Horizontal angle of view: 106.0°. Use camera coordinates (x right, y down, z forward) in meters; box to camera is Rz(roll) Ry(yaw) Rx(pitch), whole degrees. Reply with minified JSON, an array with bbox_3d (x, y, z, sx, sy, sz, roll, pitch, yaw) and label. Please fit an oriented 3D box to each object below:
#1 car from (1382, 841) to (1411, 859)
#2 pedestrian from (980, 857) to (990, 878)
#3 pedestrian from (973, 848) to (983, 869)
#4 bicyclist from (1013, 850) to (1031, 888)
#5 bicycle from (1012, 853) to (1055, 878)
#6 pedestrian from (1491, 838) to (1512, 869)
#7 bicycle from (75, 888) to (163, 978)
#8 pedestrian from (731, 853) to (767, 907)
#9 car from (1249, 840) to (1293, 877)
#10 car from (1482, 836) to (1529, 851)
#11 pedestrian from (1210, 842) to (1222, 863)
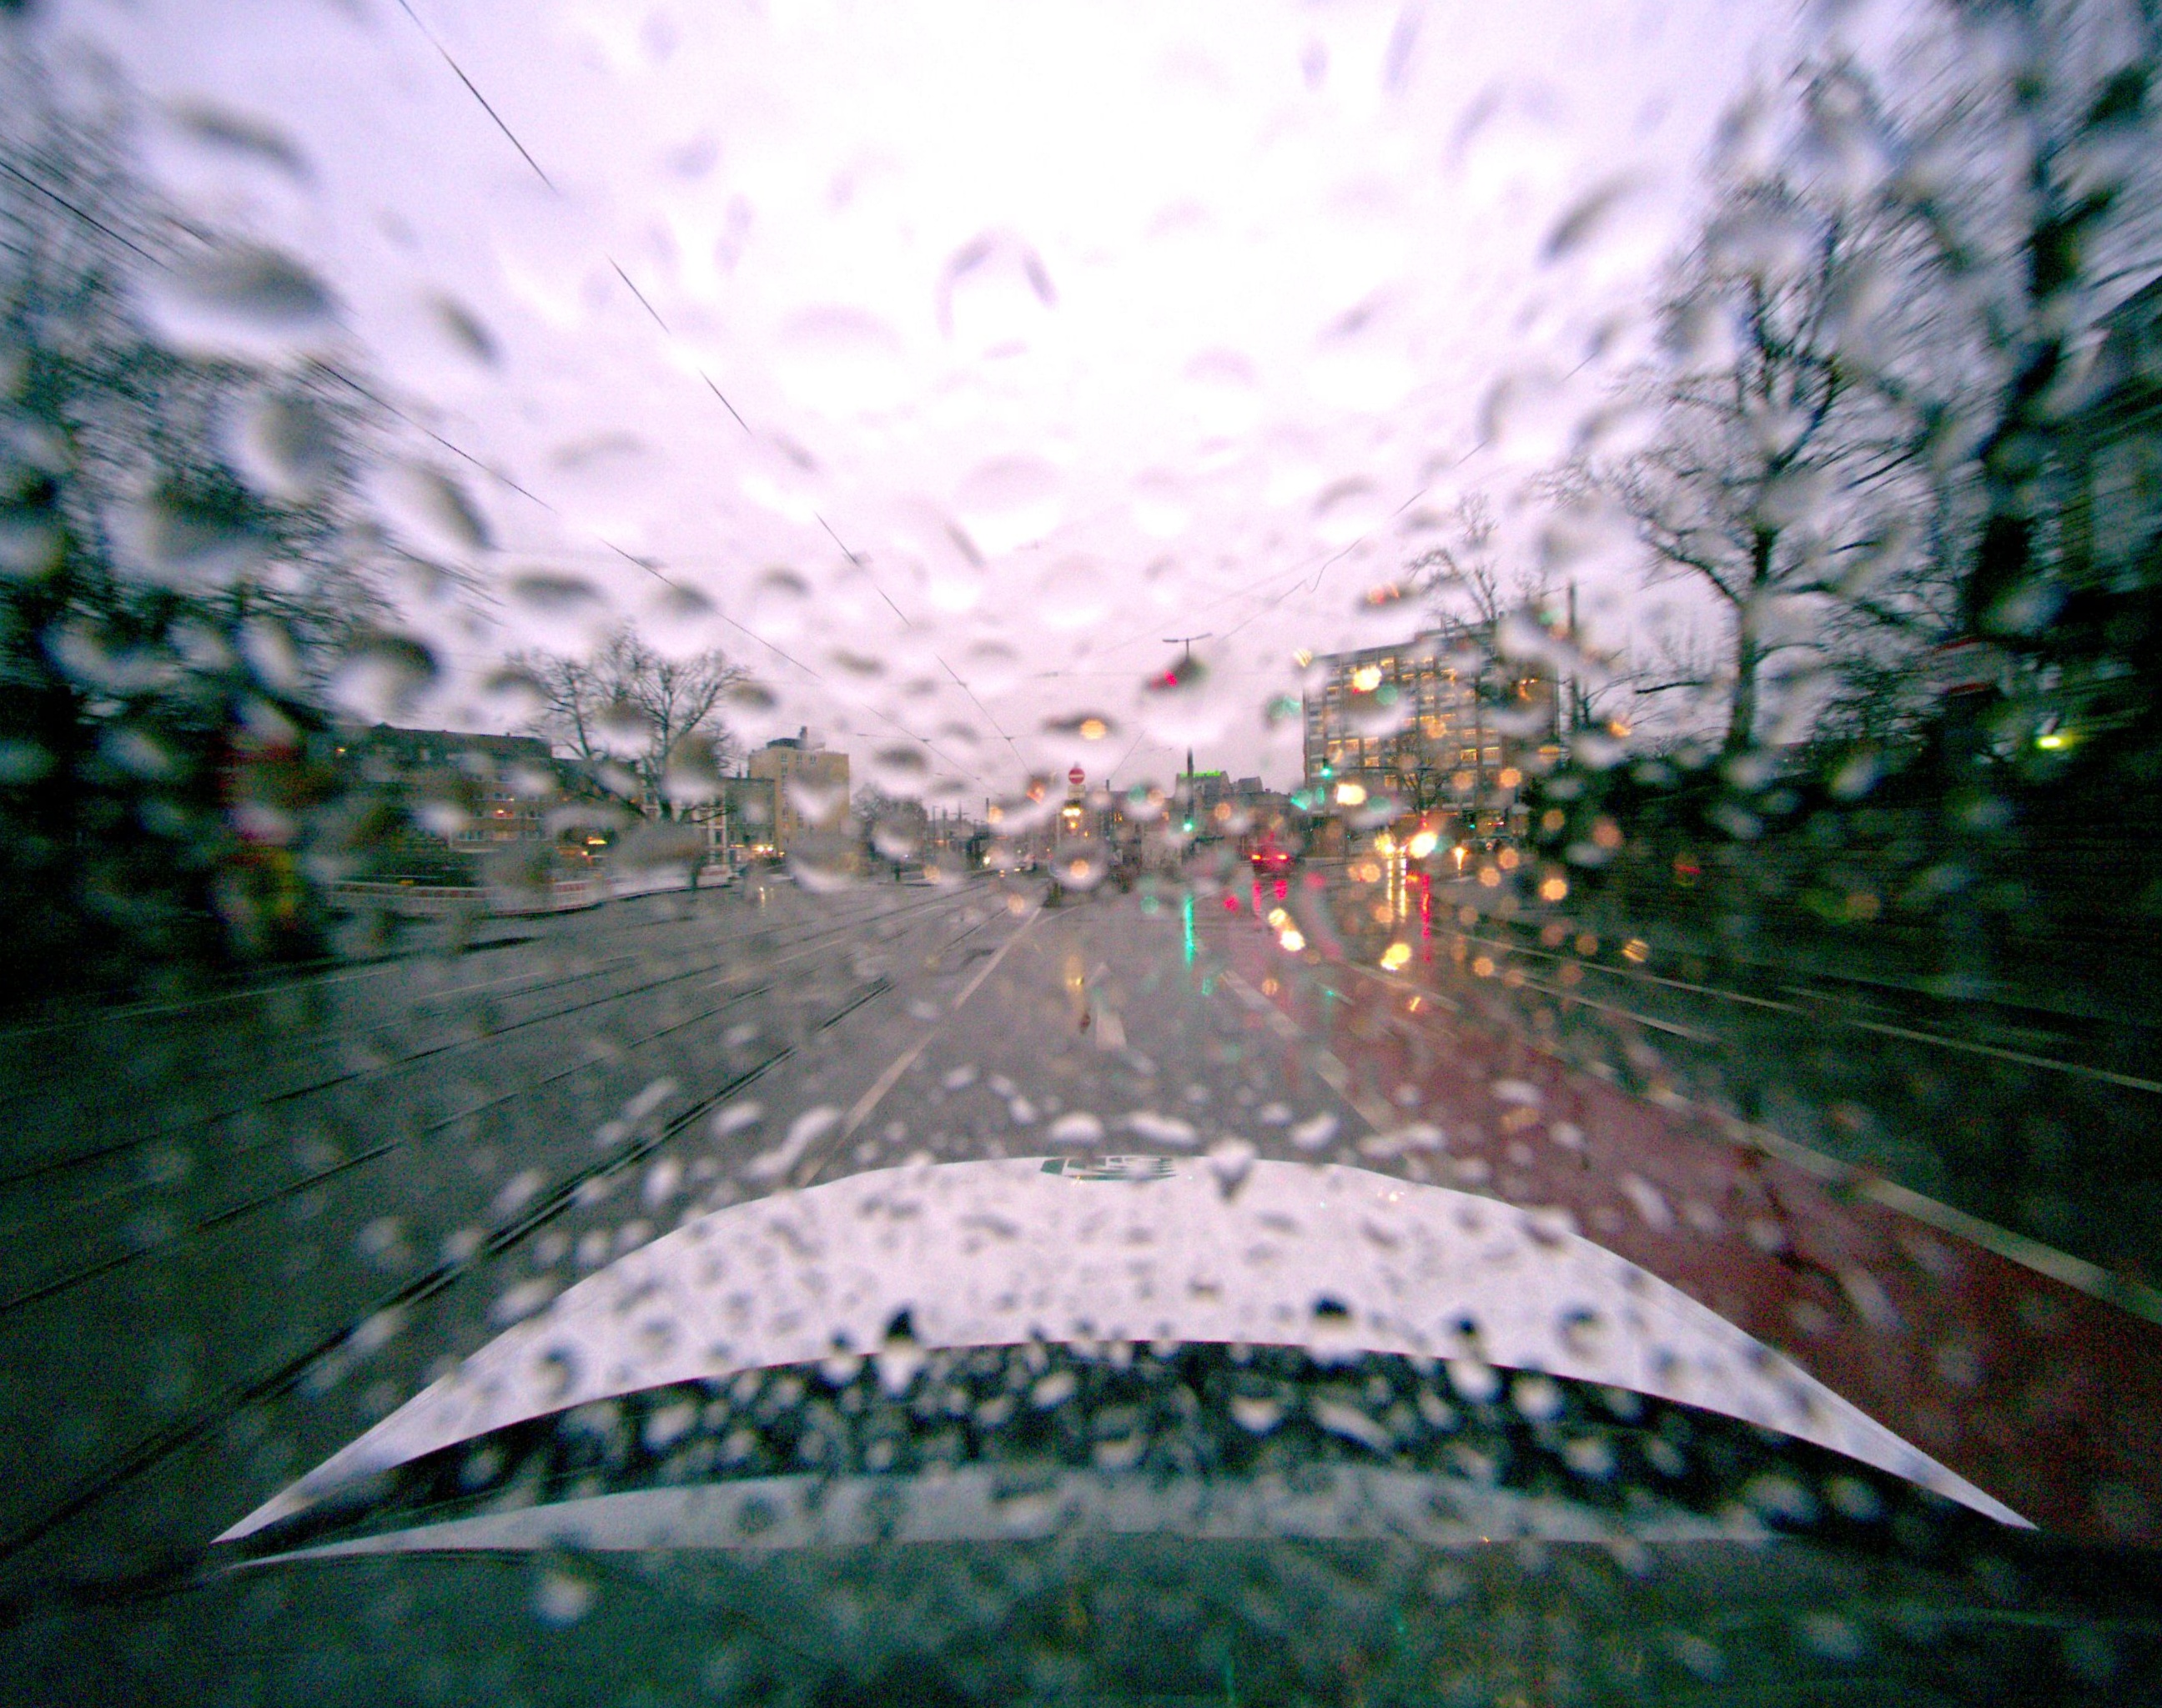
[{"bbox_3d":[33.241,-0.439,85.743,1.737,1.662,4.559,-3,0,35],"label":"car"},{"bbox_3d":[-8.276,1.186,70.154,0.709,1.806,0.717,-1,0,1],"label":"pedestrian"},{"bbox_3d":[-8.612,0.387,67.924,0.709,1.757,0.717,-1,0,1],"label":"pedestrian"},{"bbox_3d":[-2.767,0.687,38.502,0.604,1.768,0.592,0,-1,44],"label":"bicyclist"},{"bbox_3d":[-2.280,0.556,39.042,0.620,1.074,2.223,0,2,43],"label":"bicycle"},{"bbox_3d":[23.255,-0.034,45.062,0.798,1.684,1.162,-3,0,19],"label":"pedestrian"},{"bbox_3d":[-20.400,1.620,17.318,0.717,1.689,2.401,1,0,-38],"label":"bicycle"},{"bbox_3d":[-14.732,1.137,36.152,0.984,2.370,1.071,0,0,31],"label":"pedestrian"},{"bbox_3d":[10.143,0.213,43.296,1.633,1.818,4.022,0,2,22],"label":"car"},{"bbox_3d":[59.065,-1.503,113.382,5.494,2.024,2.012,0,0,41],"label":"car"},{"bbox_3d":[10.615,-0.109,64.195,0.666,1.674,0.735,0,-1,39],"label":"pedestrian"}]
